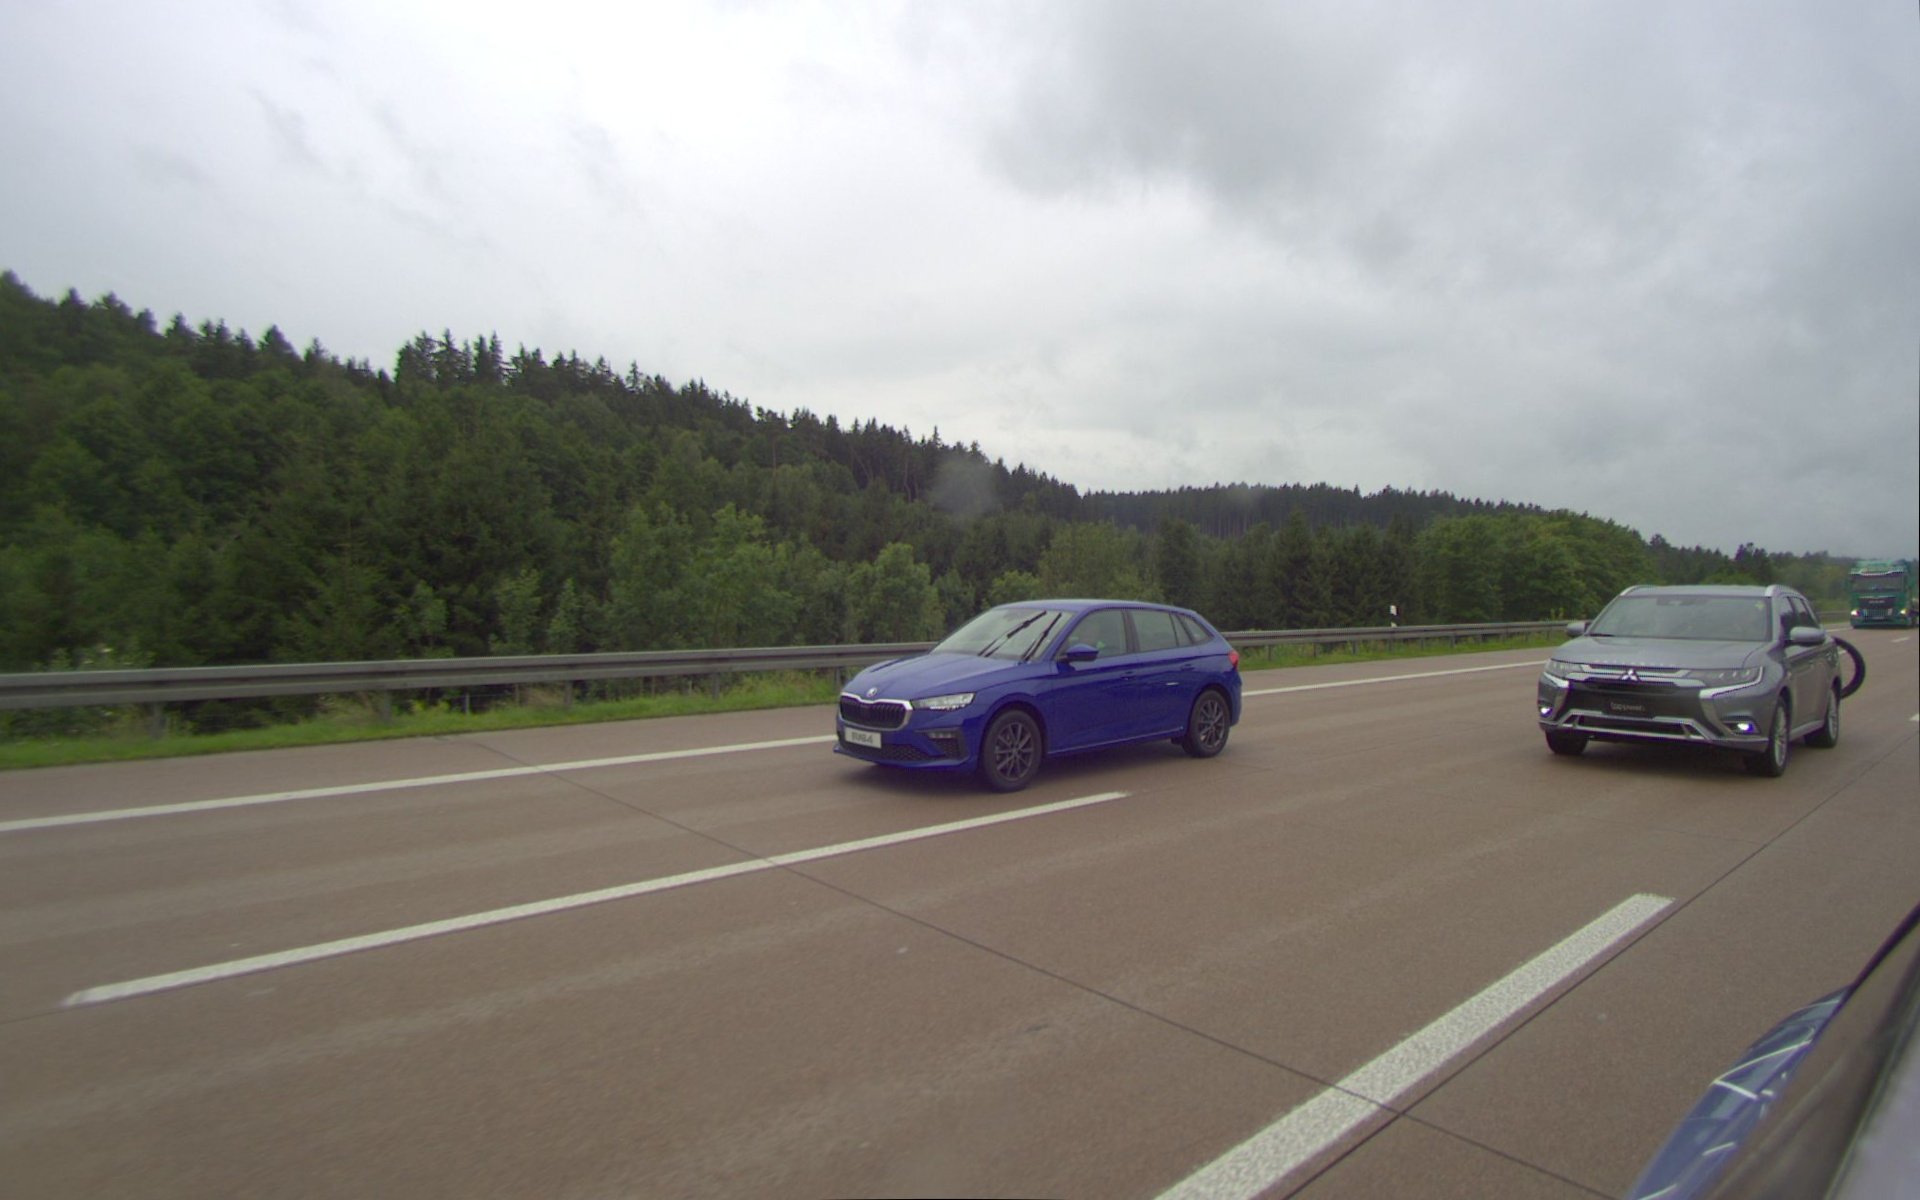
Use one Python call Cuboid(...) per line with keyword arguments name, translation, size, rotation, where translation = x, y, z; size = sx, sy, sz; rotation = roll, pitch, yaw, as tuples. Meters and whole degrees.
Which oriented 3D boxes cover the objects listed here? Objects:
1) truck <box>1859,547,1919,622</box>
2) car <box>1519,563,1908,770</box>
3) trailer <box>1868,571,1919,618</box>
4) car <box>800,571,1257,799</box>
Cuboid(name="truck", translation=(53.484, -0.912, 57.653), size=(6.875, 4.014, 2.899), rotation=(-2, 1, -44))
Cuboid(name="car", translation=(8.048, 0.454, 10.529), size=(5.718, 1.612, 1.997), rotation=(-2, 1, -40))
Cuboid(name="trailer", translation=(59.035, -0.424, 63.093), size=(11.212, 2.709, 2.883), rotation=(-2, 1, -44))
Cuboid(name="car", translation=(0.774, 0.557, 9.120), size=(4.076, 1.583, 1.773), rotation=(-2, 1, -42))
